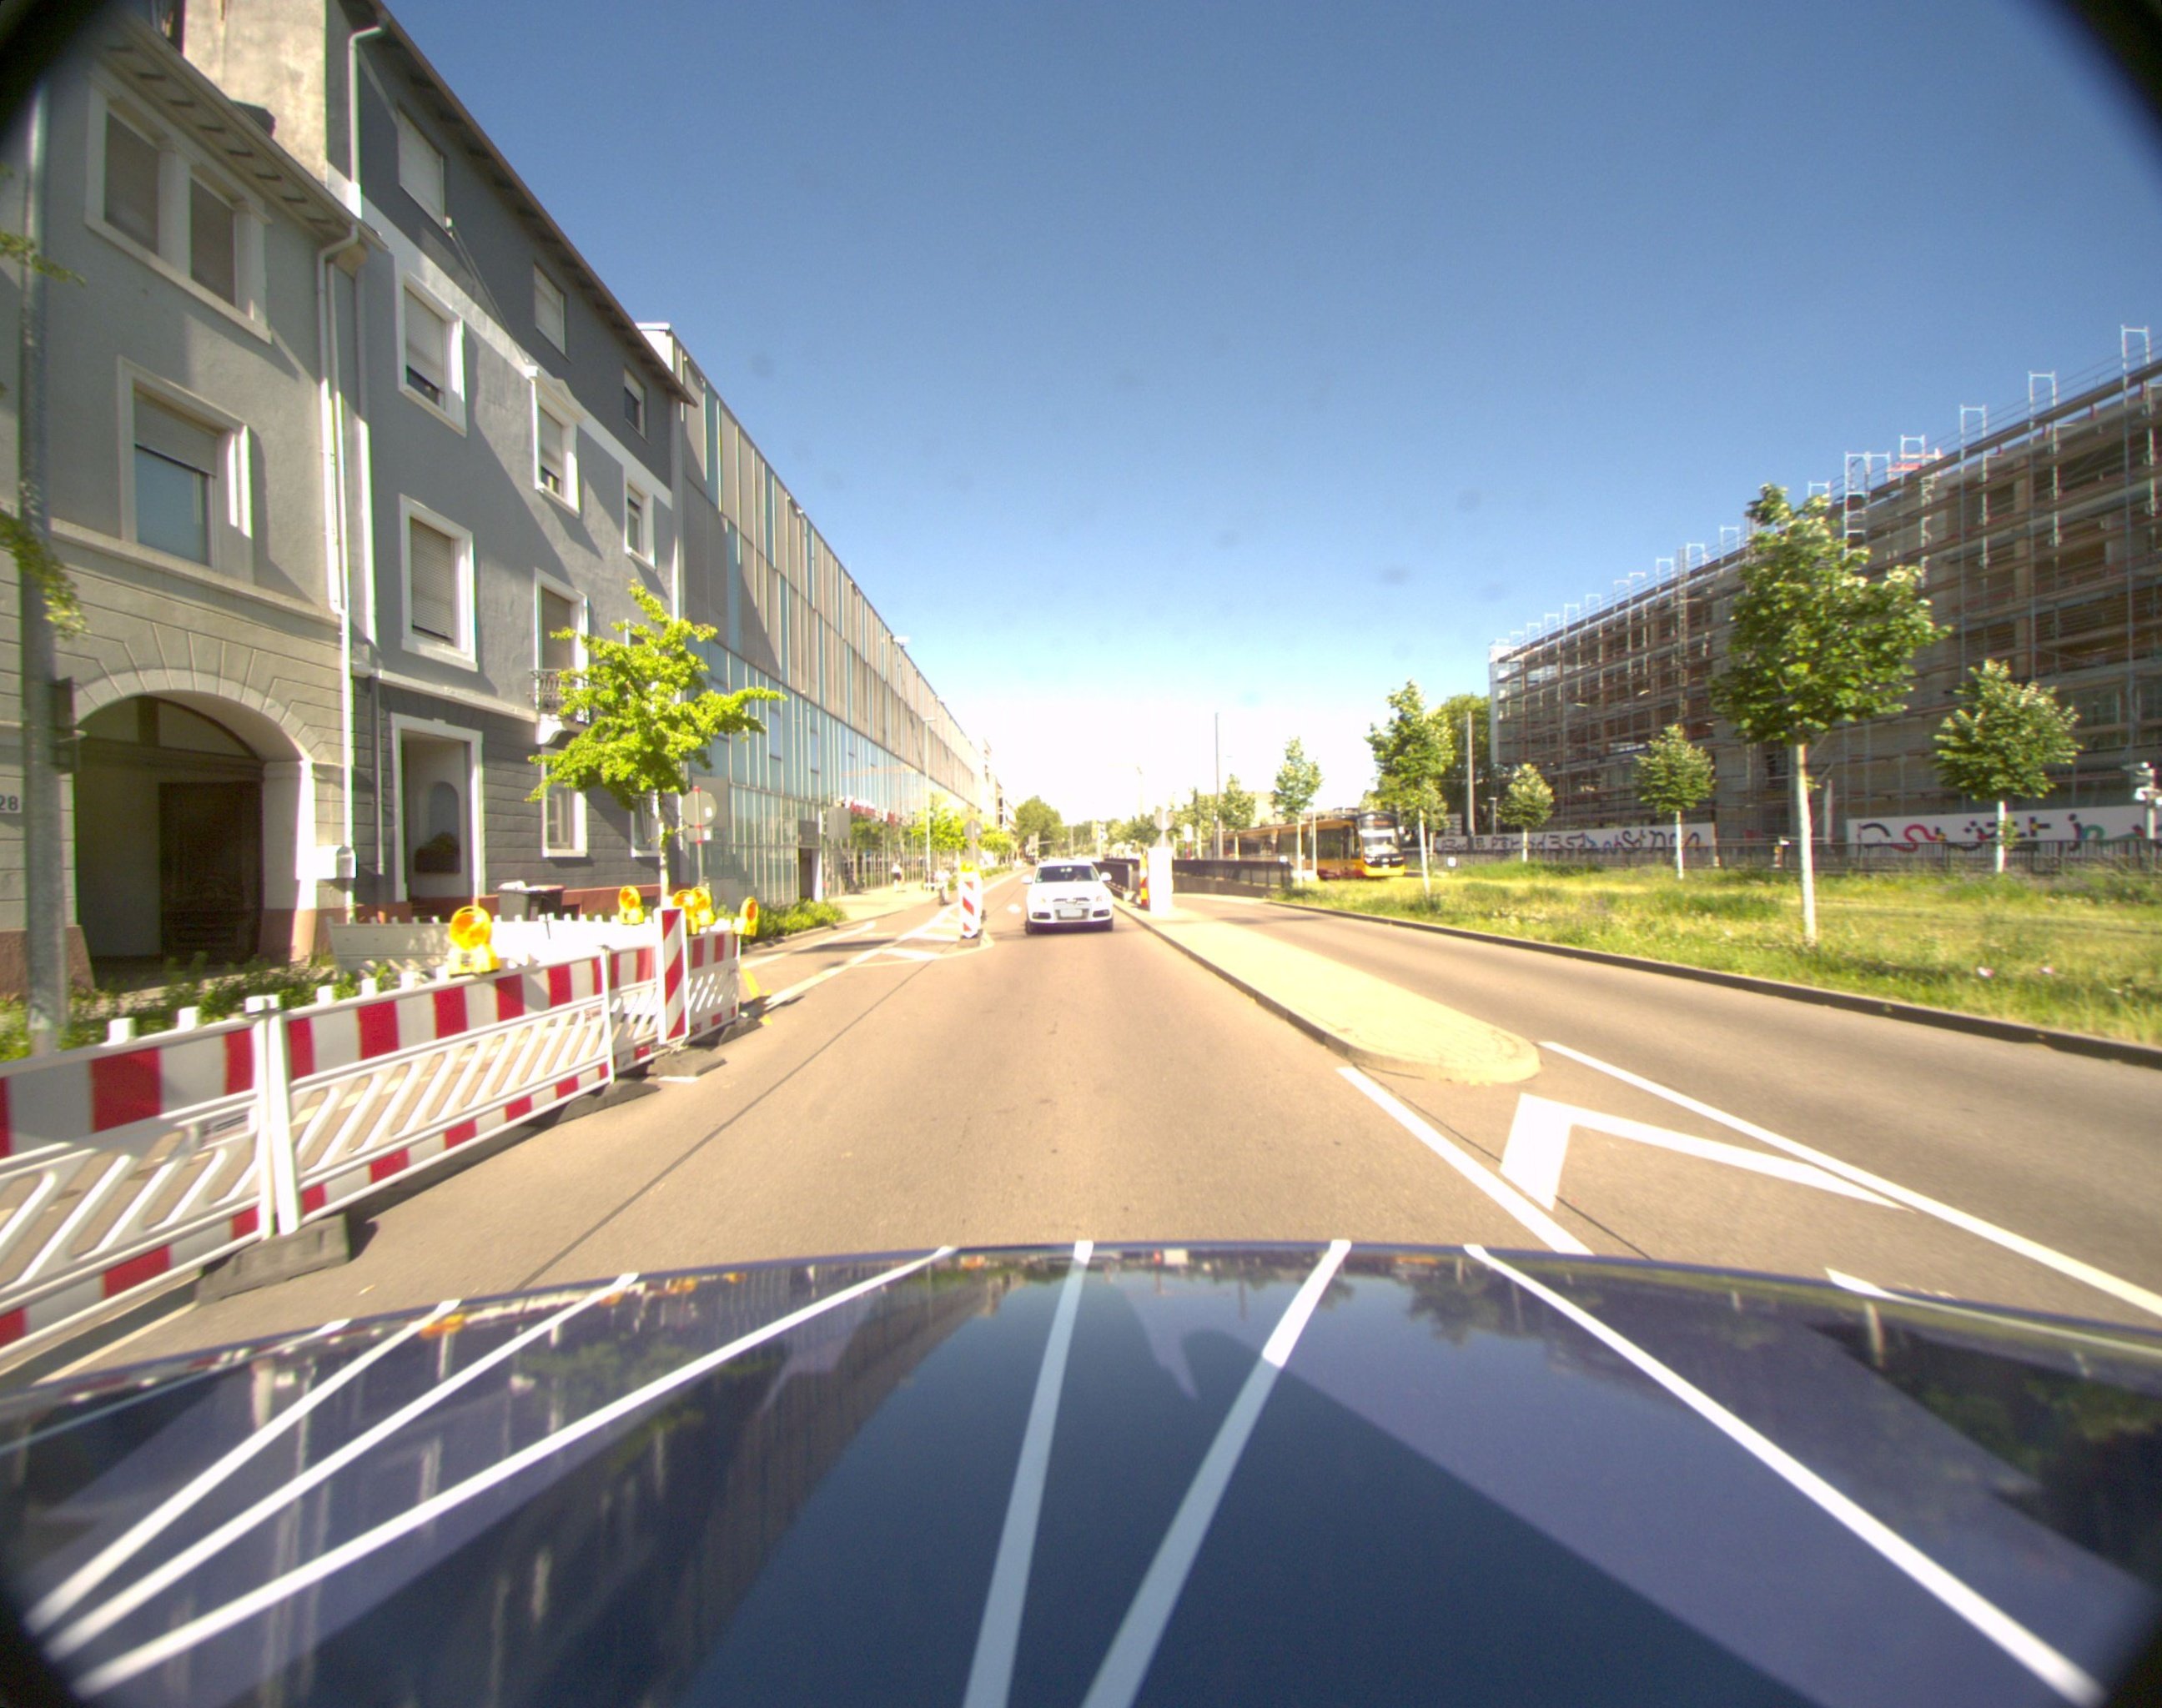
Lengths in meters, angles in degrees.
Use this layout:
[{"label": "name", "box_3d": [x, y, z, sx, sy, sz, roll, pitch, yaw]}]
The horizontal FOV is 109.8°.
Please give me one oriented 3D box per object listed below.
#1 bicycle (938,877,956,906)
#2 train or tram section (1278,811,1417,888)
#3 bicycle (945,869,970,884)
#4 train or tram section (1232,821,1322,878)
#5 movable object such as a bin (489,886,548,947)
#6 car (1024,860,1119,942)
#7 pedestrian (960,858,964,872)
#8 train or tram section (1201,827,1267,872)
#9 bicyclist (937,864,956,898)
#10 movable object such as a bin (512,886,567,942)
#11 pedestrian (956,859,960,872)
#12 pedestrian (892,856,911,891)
[{"label": "bicycle", "box_3d": [-5.867, 1.619, 33.264, 0.610, 1.144, 1.986, -2, 1, -7]}, {"label": "train or tram section", "box_3d": [14.204, -0.213, 42.161, 2.823, 3.617, 12.786, 0, 0, -2]}, {"label": "bicycle", "box_3d": [-9.182, 1.665, 56.569, 1.741, 1.056, 0.467, 2, 0, -18]}, {"label": "train or tram section", "box_3d": [13.782, -0.291, 54.960, 2.823, 3.617, 12.786, 0, 0, -2]}, {"label": "movable object such as a bin", "box_3d": [-10.767, 1.177, 14.570, 0.590, 1.101, 0.703, -1, 0, -1]}, {"label": "car", "box_3d": [-0.350, 0.994, 17.932, 1.935, 1.624, 3.998, -2, 0, -5]}, {"label": "pedestrian", "box_3d": [-14.946, 1.409, 95.263, 0.450, 1.681, 0.345, -1, 0, -2]}, {"label": "train or tram section", "box_3d": [13.362, -0.382, 67.719, 2.823, 3.617, 12.786, 0, 0, -2]}, {"label": "bicyclist", "box_3d": [-5.899, 1.173, 33.295, 0.756, 1.454, 0.587, -1, 1, -7]}, {"label": "movable object such as a bin", "box_3d": [-10.951, 1.203, 15.382, 0.604, 1.076, 0.703, -1, 0, -1]}, {"label": "pedestrian", "box_3d": [-15.409, 1.420, 95.233, 0.450, 1.591, 0.287, -1, 0, -2]}, {"label": "pedestrian", "box_3d": [-10.396, 1.127, 44.020, 0.878, 1.913, 0.895, 2, 2, -2]}]
